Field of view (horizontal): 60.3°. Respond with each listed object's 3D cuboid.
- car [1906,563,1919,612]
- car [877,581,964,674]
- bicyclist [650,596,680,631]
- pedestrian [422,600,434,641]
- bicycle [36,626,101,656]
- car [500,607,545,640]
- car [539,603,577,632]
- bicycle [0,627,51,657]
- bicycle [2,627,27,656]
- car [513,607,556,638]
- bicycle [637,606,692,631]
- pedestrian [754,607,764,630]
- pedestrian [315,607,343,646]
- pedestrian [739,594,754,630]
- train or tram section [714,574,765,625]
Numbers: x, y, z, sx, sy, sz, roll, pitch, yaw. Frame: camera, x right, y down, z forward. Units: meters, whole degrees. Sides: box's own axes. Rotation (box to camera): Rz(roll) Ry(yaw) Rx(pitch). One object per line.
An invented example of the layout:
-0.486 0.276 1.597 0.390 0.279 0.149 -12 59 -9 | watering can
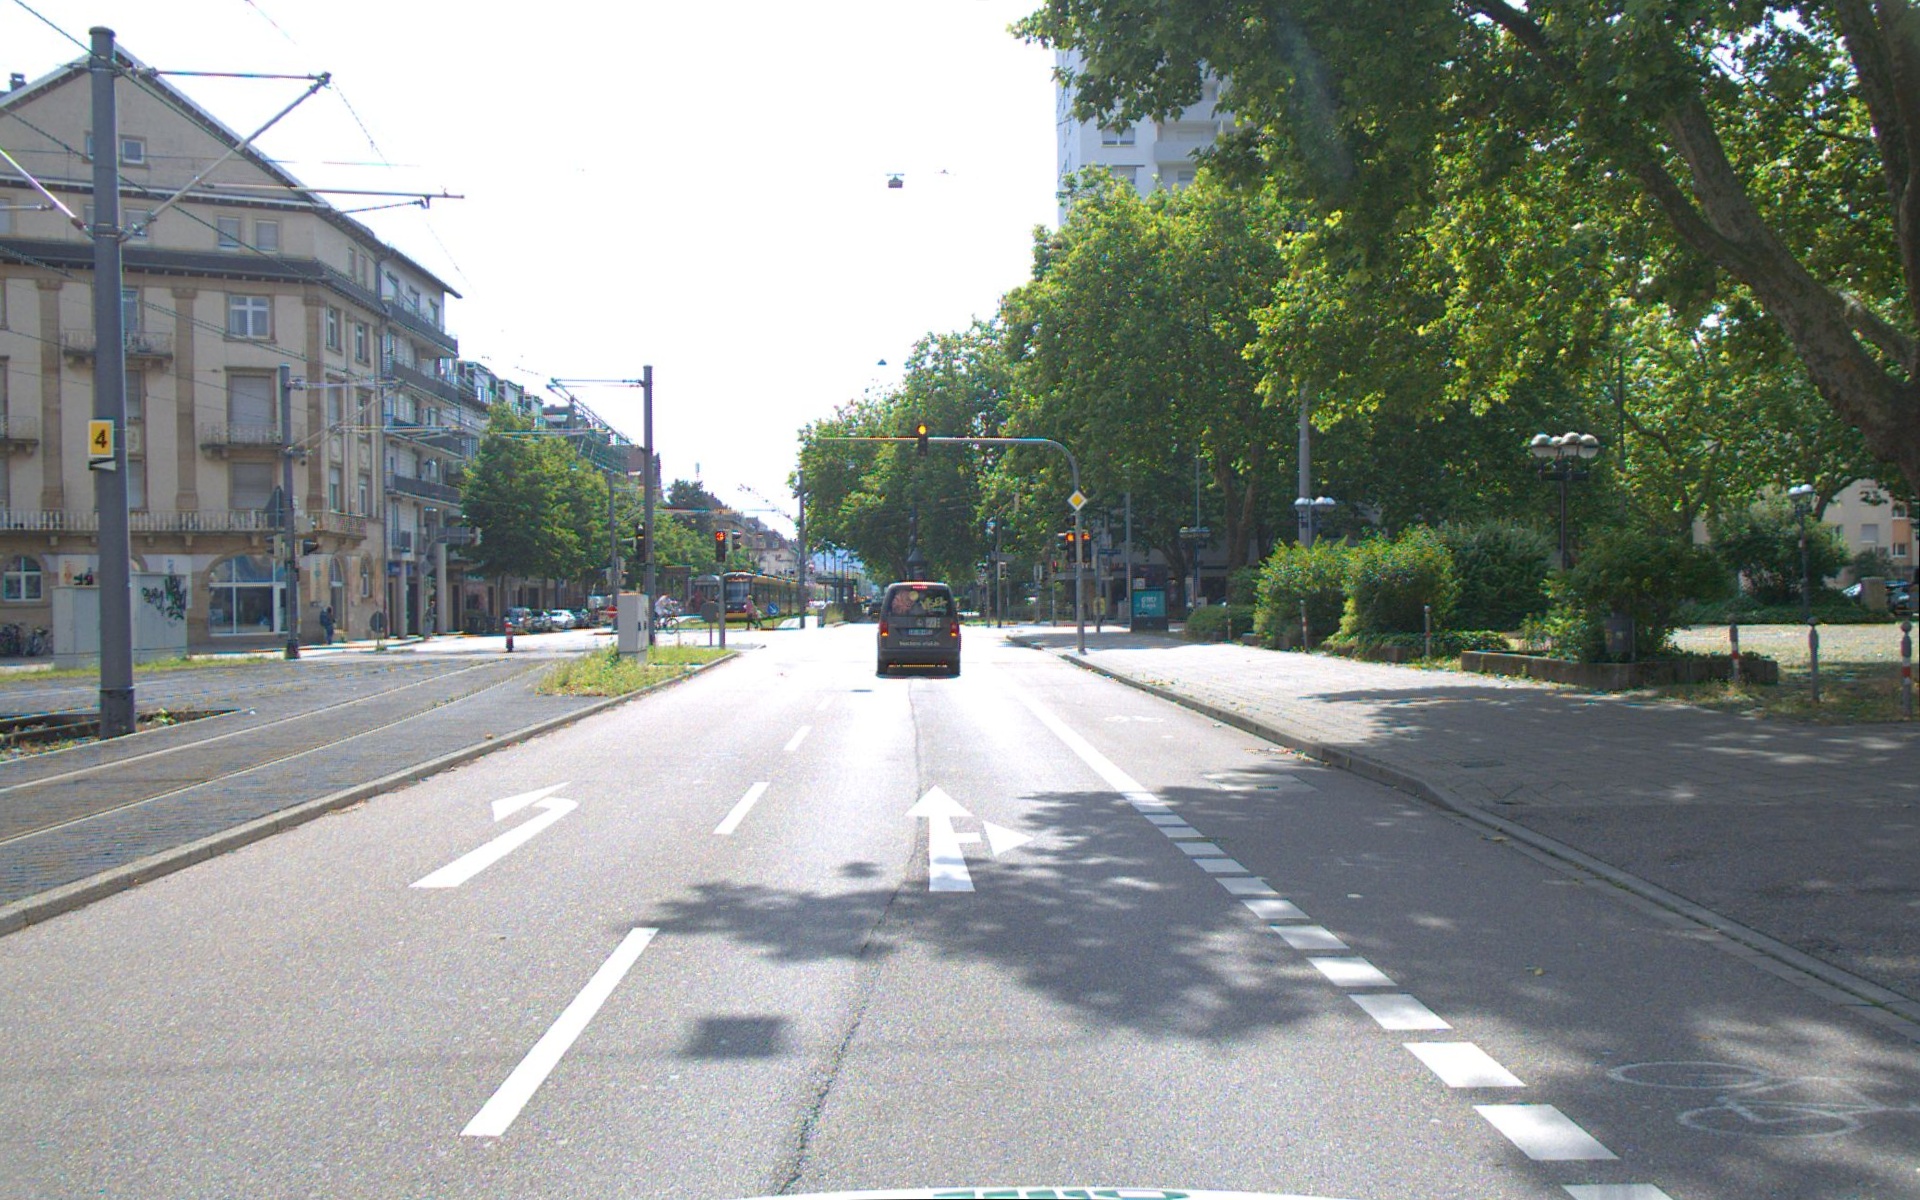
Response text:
42.885 -0.579 70.108 4.324 2.049 2.077 -1 0 -1 | car
-0.838 0.537 34.599 1.715 1.840 3.473 0 0 -2 | car
-13.058 0.607 73.222 0.977 1.538 0.780 -1 0 23 | bicyclist
-27.166 1.042 84.503 0.468 2.049 0.419 -1 0 -7 | pedestrian
-34.515 1.574 64.053 0.786 1.071 2.568 -1 0 10 | bicycle
-28.748 1.531 108.671 1.953 2.049 3.999 -1 0 -2 | car
-29.810 1.297 122.713 1.953 2.049 3.999 -1 0 -2 | car
-35.356 1.579 61.702 2.530 1.071 0.675 -1 0 -30 | bicycle
-36.147 1.581 63.225 0.795 1.071 2.539 -1 0 -31 | bicycle
-29.351 1.538 114.218 1.953 2.049 3.999 -1 0 -2 | car
-13.084 0.810 73.239 2.255 1.067 0.896 -1 0 24 | bicycle
-10.291 0.922 84.522 0.454 1.164 0.435 -1 0 -2 | pedestrian
-27.159 1.145 71.168 0.678 1.623 0.861 -1 0 27 | pedestrian
-10.834 0.607 84.005 0.646 1.815 0.660 -1 0 -2 | pedestrian
-15.733 -0.042 118.682 2.195 3.389 12.967 -1 0 -2 | train or tram section
